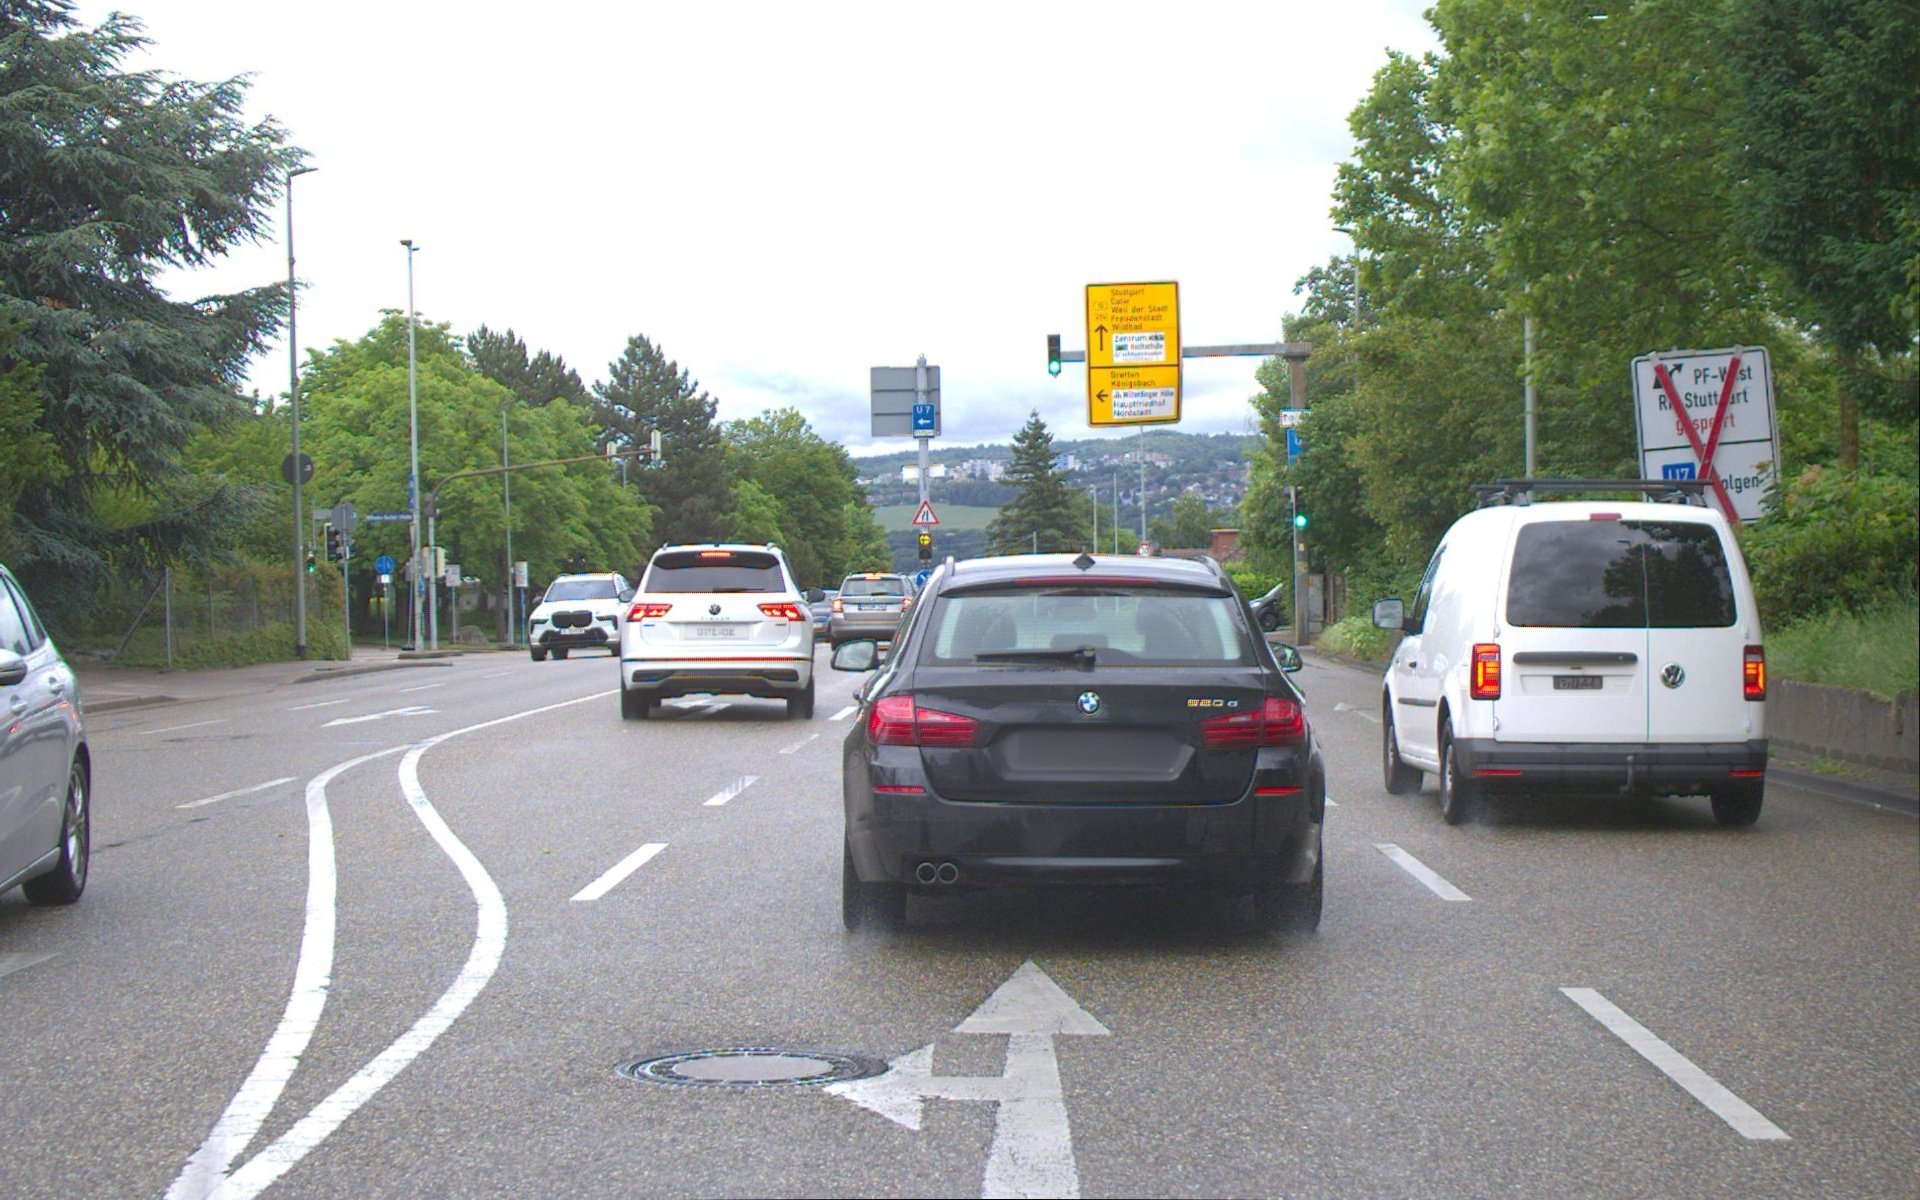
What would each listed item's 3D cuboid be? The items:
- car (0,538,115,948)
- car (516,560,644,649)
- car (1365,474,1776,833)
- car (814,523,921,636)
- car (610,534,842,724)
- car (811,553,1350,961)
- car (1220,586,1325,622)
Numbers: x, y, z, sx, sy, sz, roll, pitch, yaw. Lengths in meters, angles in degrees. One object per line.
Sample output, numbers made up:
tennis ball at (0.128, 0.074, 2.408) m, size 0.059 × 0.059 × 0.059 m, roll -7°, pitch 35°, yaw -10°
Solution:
car at (-4.444, 0.540, 12.973) m, size 1.749 × 1.503 × 4.303 m, roll -1°, pitch 1°, yaw -5°
car at (-8.121, 0.073, 73.898) m, size 1.917 × 1.757 × 5.143 m, roll -3°, pitch 0°, yaw 2°
car at (3.466, 0.219, 20.178) m, size 1.764 × 1.871 × 3.806 m, roll 0°, pitch 3°, yaw 1°
car at (-1.731, -0.404, 65.141) m, size 1.810 × 2.080 × 3.850 m, roll 0°, pitch 1°, yaw 2°
car at (-2.213, 0.227, 33.514) m, size 1.869 × 1.668 × 4.000 m, roll 0°, pitch 2°, yaw 2°
car at (0.482, 0.549, 14.133) m, size 1.899 × 1.437 × 4.000 m, roll 0°, pitch 0°, yaw 2°
car at (11.901, 0.139, 130.918) m, size 3.988 × 1.372 × 1.585 m, roll 0°, pitch 0°, yaw 6°
